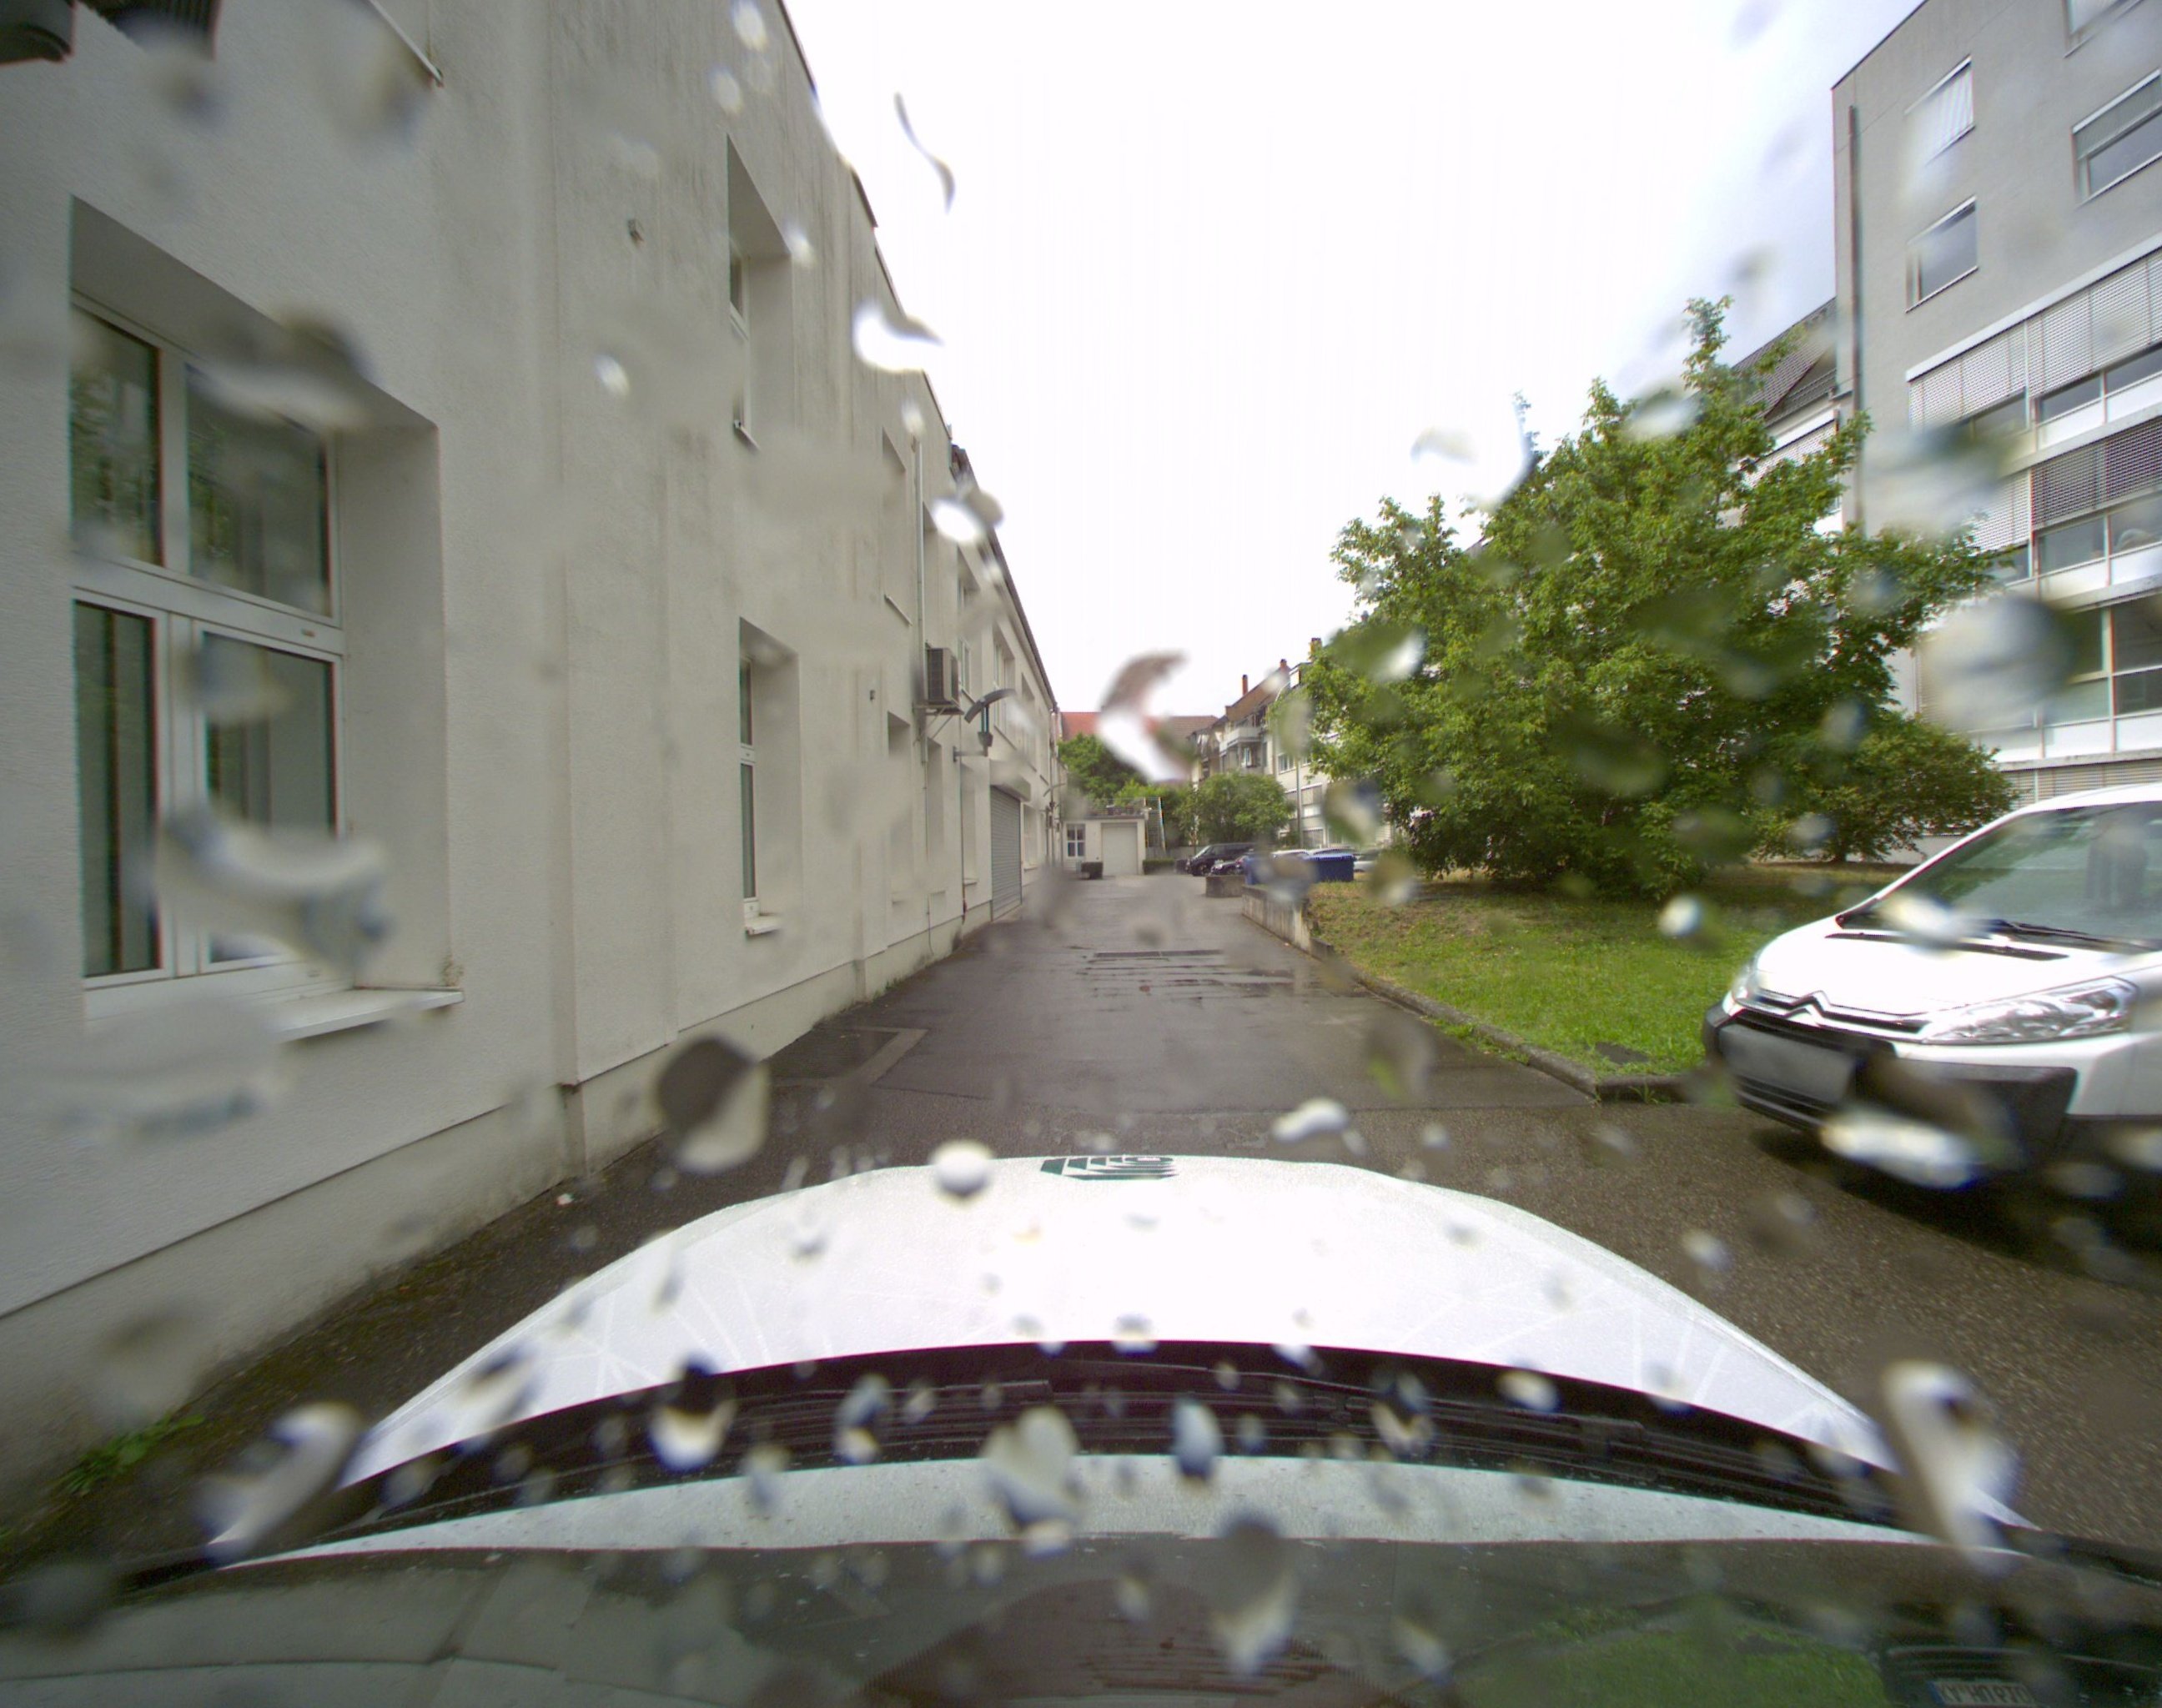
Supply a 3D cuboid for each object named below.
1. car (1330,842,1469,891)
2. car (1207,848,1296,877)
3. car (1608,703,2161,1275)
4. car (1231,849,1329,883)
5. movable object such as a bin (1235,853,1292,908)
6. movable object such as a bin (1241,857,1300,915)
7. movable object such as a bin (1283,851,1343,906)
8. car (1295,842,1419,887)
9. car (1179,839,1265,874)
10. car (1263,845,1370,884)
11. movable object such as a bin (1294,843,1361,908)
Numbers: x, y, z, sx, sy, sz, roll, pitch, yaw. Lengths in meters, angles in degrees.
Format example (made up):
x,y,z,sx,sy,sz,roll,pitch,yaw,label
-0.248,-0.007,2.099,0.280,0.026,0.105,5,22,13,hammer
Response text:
x,y,z,sx,sy,sz,roll,pitch,yaw,label
10.707,0.402,27.582,3.973,1.354,1.791,-4,0,0,car
9.143,0.413,43.814,4.347,1.348,1.857,-2,1,-6,car
5.564,0.436,3.740,4.914,2.013,2.003,-1,0,4,car
9.531,0.549,39.272,4.164,1.401,1.936,-3,0,-6,car
4.681,0.657,20.966,1.225,1.317,1.056,-2,1,1,movable object such as a bin
4.442,0.738,19.213,1.170,1.317,1.056,0,1,1,movable object such as a bin
5.963,0.620,20.957,1.225,1.317,1.056,-2,1,1,movable object such as a bin
10.302,0.393,30.576,4.070,1.458,1.666,-2,-1,-3,car
8.540,0.138,49.596,4.702,1.833,2.107,-3,0,-5,car
10.303,0.450,35.815,4.088,1.455,1.831,-3,0,-3,car
5.780,0.482,19.172,1.270,1.483,1.102,0,1,1,movable object such as a bin
